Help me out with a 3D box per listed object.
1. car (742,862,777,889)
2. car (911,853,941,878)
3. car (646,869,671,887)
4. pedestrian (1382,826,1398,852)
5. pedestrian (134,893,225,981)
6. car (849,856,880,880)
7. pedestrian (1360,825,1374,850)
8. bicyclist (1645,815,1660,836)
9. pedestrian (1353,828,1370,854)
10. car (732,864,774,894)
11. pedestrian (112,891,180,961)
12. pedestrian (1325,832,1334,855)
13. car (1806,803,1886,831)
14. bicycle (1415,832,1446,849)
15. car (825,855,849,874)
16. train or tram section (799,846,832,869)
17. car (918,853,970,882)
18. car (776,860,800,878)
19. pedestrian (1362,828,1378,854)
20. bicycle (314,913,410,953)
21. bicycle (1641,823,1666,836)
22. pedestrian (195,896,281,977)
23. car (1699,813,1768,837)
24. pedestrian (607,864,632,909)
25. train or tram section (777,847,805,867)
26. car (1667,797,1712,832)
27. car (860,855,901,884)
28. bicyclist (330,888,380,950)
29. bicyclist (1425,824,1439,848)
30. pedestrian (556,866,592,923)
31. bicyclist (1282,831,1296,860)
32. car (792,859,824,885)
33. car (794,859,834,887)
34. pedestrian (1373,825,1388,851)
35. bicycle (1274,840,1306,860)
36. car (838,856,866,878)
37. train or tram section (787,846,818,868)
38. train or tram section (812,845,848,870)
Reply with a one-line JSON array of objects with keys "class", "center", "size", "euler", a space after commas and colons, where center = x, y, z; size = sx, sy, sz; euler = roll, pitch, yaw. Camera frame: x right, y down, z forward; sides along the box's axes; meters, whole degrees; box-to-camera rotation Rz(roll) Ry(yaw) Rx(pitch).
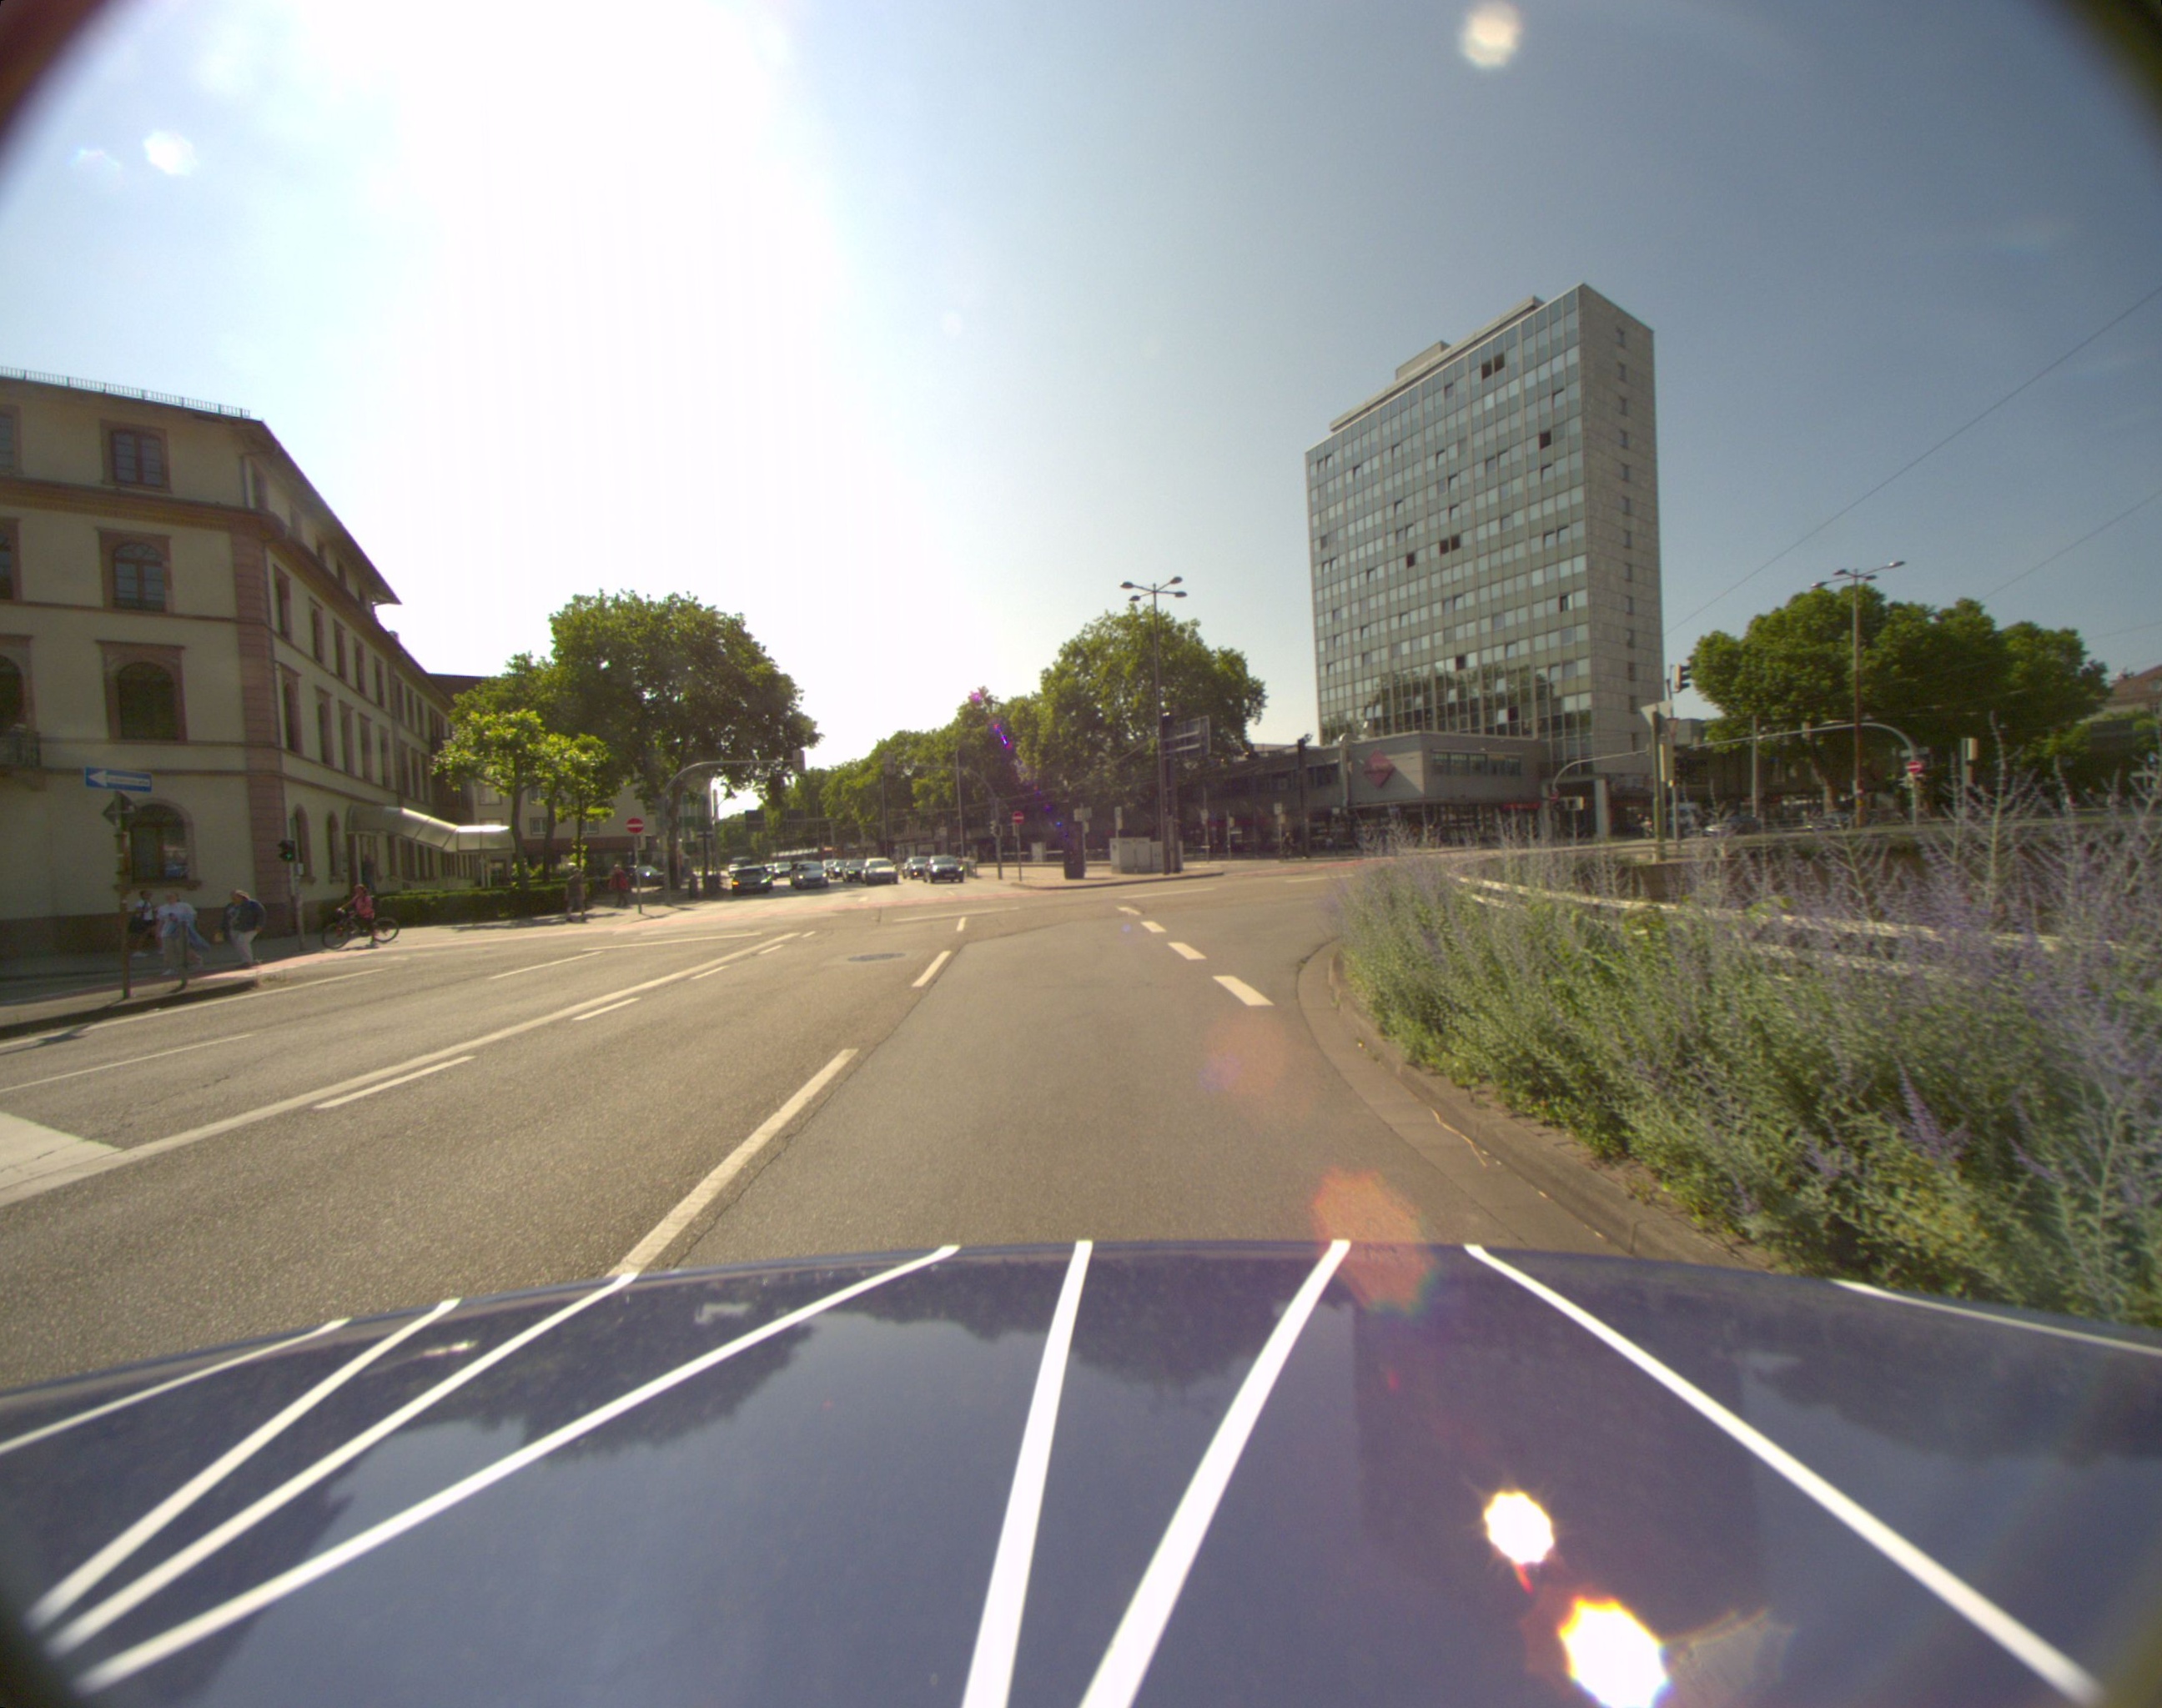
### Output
[{"class": "car", "center": [-19.796, 1.266, 46.677], "size": [1.794, 1.517, 3.965], "euler": [-2, 1, -25]}, {"class": "car", "center": [-10.101, 0.741, 49.707], "size": [1.792, 1.508, 3.969], "euler": [-2, 1, -11]}, {"class": "car", "center": [-33.917, 1.910, 61.044], "size": [1.593, 1.315, 3.572], "euler": [-4, 1, -27]}, {"class": "pedestrian", "center": [21.723, -1.054, 53.477], "size": [0.825, 1.825, 0.669], "euler": [-3, 2, -33]}, {"class": "pedestrian", "center": [-18.190, 1.651, 15.361], "size": [0.754, 1.650, 0.828], "euler": [-3, 1, -13]}, {"class": "car", "center": [-14.405, 0.899, 50.463], "size": [1.793, 1.515, 3.967], "euler": [-2, 1, -18]}, {"class": "pedestrian", "center": [21.407, -1.248, 56.819], "size": [0.822, 1.796, 0.671], "euler": [-2, 2, 6]}, {"class": "bicyclist", "center": [42.606, -2.111, 56.623], "size": [0.685, 1.518, 0.581], "euler": [-4, 3, -21]}, {"class": "pedestrian", "center": [20.178, -0.946, 54.630], "size": [0.825, 1.825, 0.733], "euler": [-3, 2, -32]}, {"class": "car", "center": [-17.714, 1.287, 40.952], "size": [1.794, 1.443, 3.965], "euler": [-2, 1, -26]}, {"class": "pedestrian", "center": [-24.396, 1.860, 19.840], "size": [0.845, 1.686, 0.743], "euler": [-4, 2, -33]}, {"class": "pedestrian", "center": [18.607, -0.792, 56.894], "size": [0.598, 1.629, 0.566], "euler": [-1, 2, 24]}, {"class": "car", "center": [48.016, -2.297, 47.695], "size": [4.081, 1.525, 1.879], "euler": [-3, 1, -18]}, {"class": "bicycle", "center": [24.931, -0.978, 54.222], "size": [1.968, 1.096, 0.577], "euler": [-3, 1, -2]}, {"class": "car", "center": [-20.421, 0.850, 63.497], "size": [1.793, 1.515, 3.967], "euler": [-2, 1, -18]}, {"class": "train or tram section", "center": [-41.107, 0.539, 117.305], "size": [2.739, 3.249, 8.716], "euler": [-4, 1, -32]}, {"class": "car", "center": [-7.564, 0.713, 41.552], "size": [1.794, 1.443, 4.271], "euler": [-2, 1, -24]}, {"class": "car", "center": [-26.209, 1.344, 68.025], "size": [1.793, 1.443, 3.967], "euler": [-2, 1, -18]}, {"class": "pedestrian", "center": [20.484, -0.944, 53.911], "size": [0.825, 1.825, 0.669], "euler": [-3, 2, -32]}, {"class": "bicycle", "center": [-19.301, 2.107, 20.447], "size": [0.592, 0.850, 1.746], "euler": [-3, 1, 18]}, {"class": "bicycle", "center": [42.681, -1.794, 56.662], "size": [1.812, 0.878, 0.591], "euler": [-4, 3, -21]}, {"class": "pedestrian", "center": [-17.590, 1.701, 15.878], "size": [0.773, 1.563, 0.828], "euler": [-3, 1, -12]}, {"class": "car", "center": [46.968, -2.084, 54.689], "size": [4.167, 1.452, 1.879], "euler": [-3, 1, -18]}, {"class": "pedestrian", "center": [-19.215, 1.328, 31.635], "size": [0.727, 1.795, 0.651], "euler": [-4, 2, -25]}, {"class": "train or tram section", "center": [-50.414, 0.558, 132.062], "size": [2.739, 3.249, 8.716], "euler": [-4, 1, -32]}, {"class": "car", "center": [53.954, -3.553, 67.374], "size": [4.643, 2.900, 1.743], "euler": [-4, 2, -34]}, {"class": "car", "center": [-11.406, 0.863, 43.053], "size": [1.722, 1.491, 4.483], "euler": [-2, 0, -21]}, {"class": "bicyclist", "center": [-19.375, 1.726, 20.280], "size": [0.592, 1.597, 0.685], "euler": [-3, 1, 18]}, {"class": "bicyclist", "center": [25.042, -1.281, 54.204], "size": [0.684, 1.677, 0.583], "euler": [-3, 1, -1]}, {"class": "pedestrian", "center": [-16.851, 1.348, 25.259], "size": [0.590, 1.835, 0.730], "euler": [-2, 2, 36]}, {"class": "bicyclist", "center": [12.694, -0.531, 46.382], "size": [0.684, 1.697, 0.521], "euler": [-2, 2, -4]}, {"class": "car", "center": [-17.908, 1.150, 49.733], "size": [1.794, 1.521, 3.966], "euler": [-2, 1, -21]}, {"class": "car", "center": [-15.232, 1.058, 43.217], "size": [1.794, 1.443, 3.965], "euler": [-2, 1, -25]}, {"class": "pedestrian", "center": [21.814, -1.159, 55.350], "size": [0.823, 1.825, 0.671], "euler": [-2, 2, -1]}, {"class": "bicycle", "center": [12.747, -0.263, 46.398], "size": [1.816, 1.160, 0.521], "euler": [-2, 2, -4]}, {"class": "car", "center": [-16.939, 0.919, 56.074], "size": [1.793, 1.515, 3.967], "euler": [-2, 1, -18]}, {"class": "train or tram section", "center": [-45.772, 0.549, 124.676], "size": [2.739, 3.249, 8.716], "euler": [-4, 1, -32]}, {"class": "train or tram section", "center": [-36.454, 0.529, 109.972], "size": [2.739, 3.249, 8.716], "euler": [-4, 1, -32]}]
